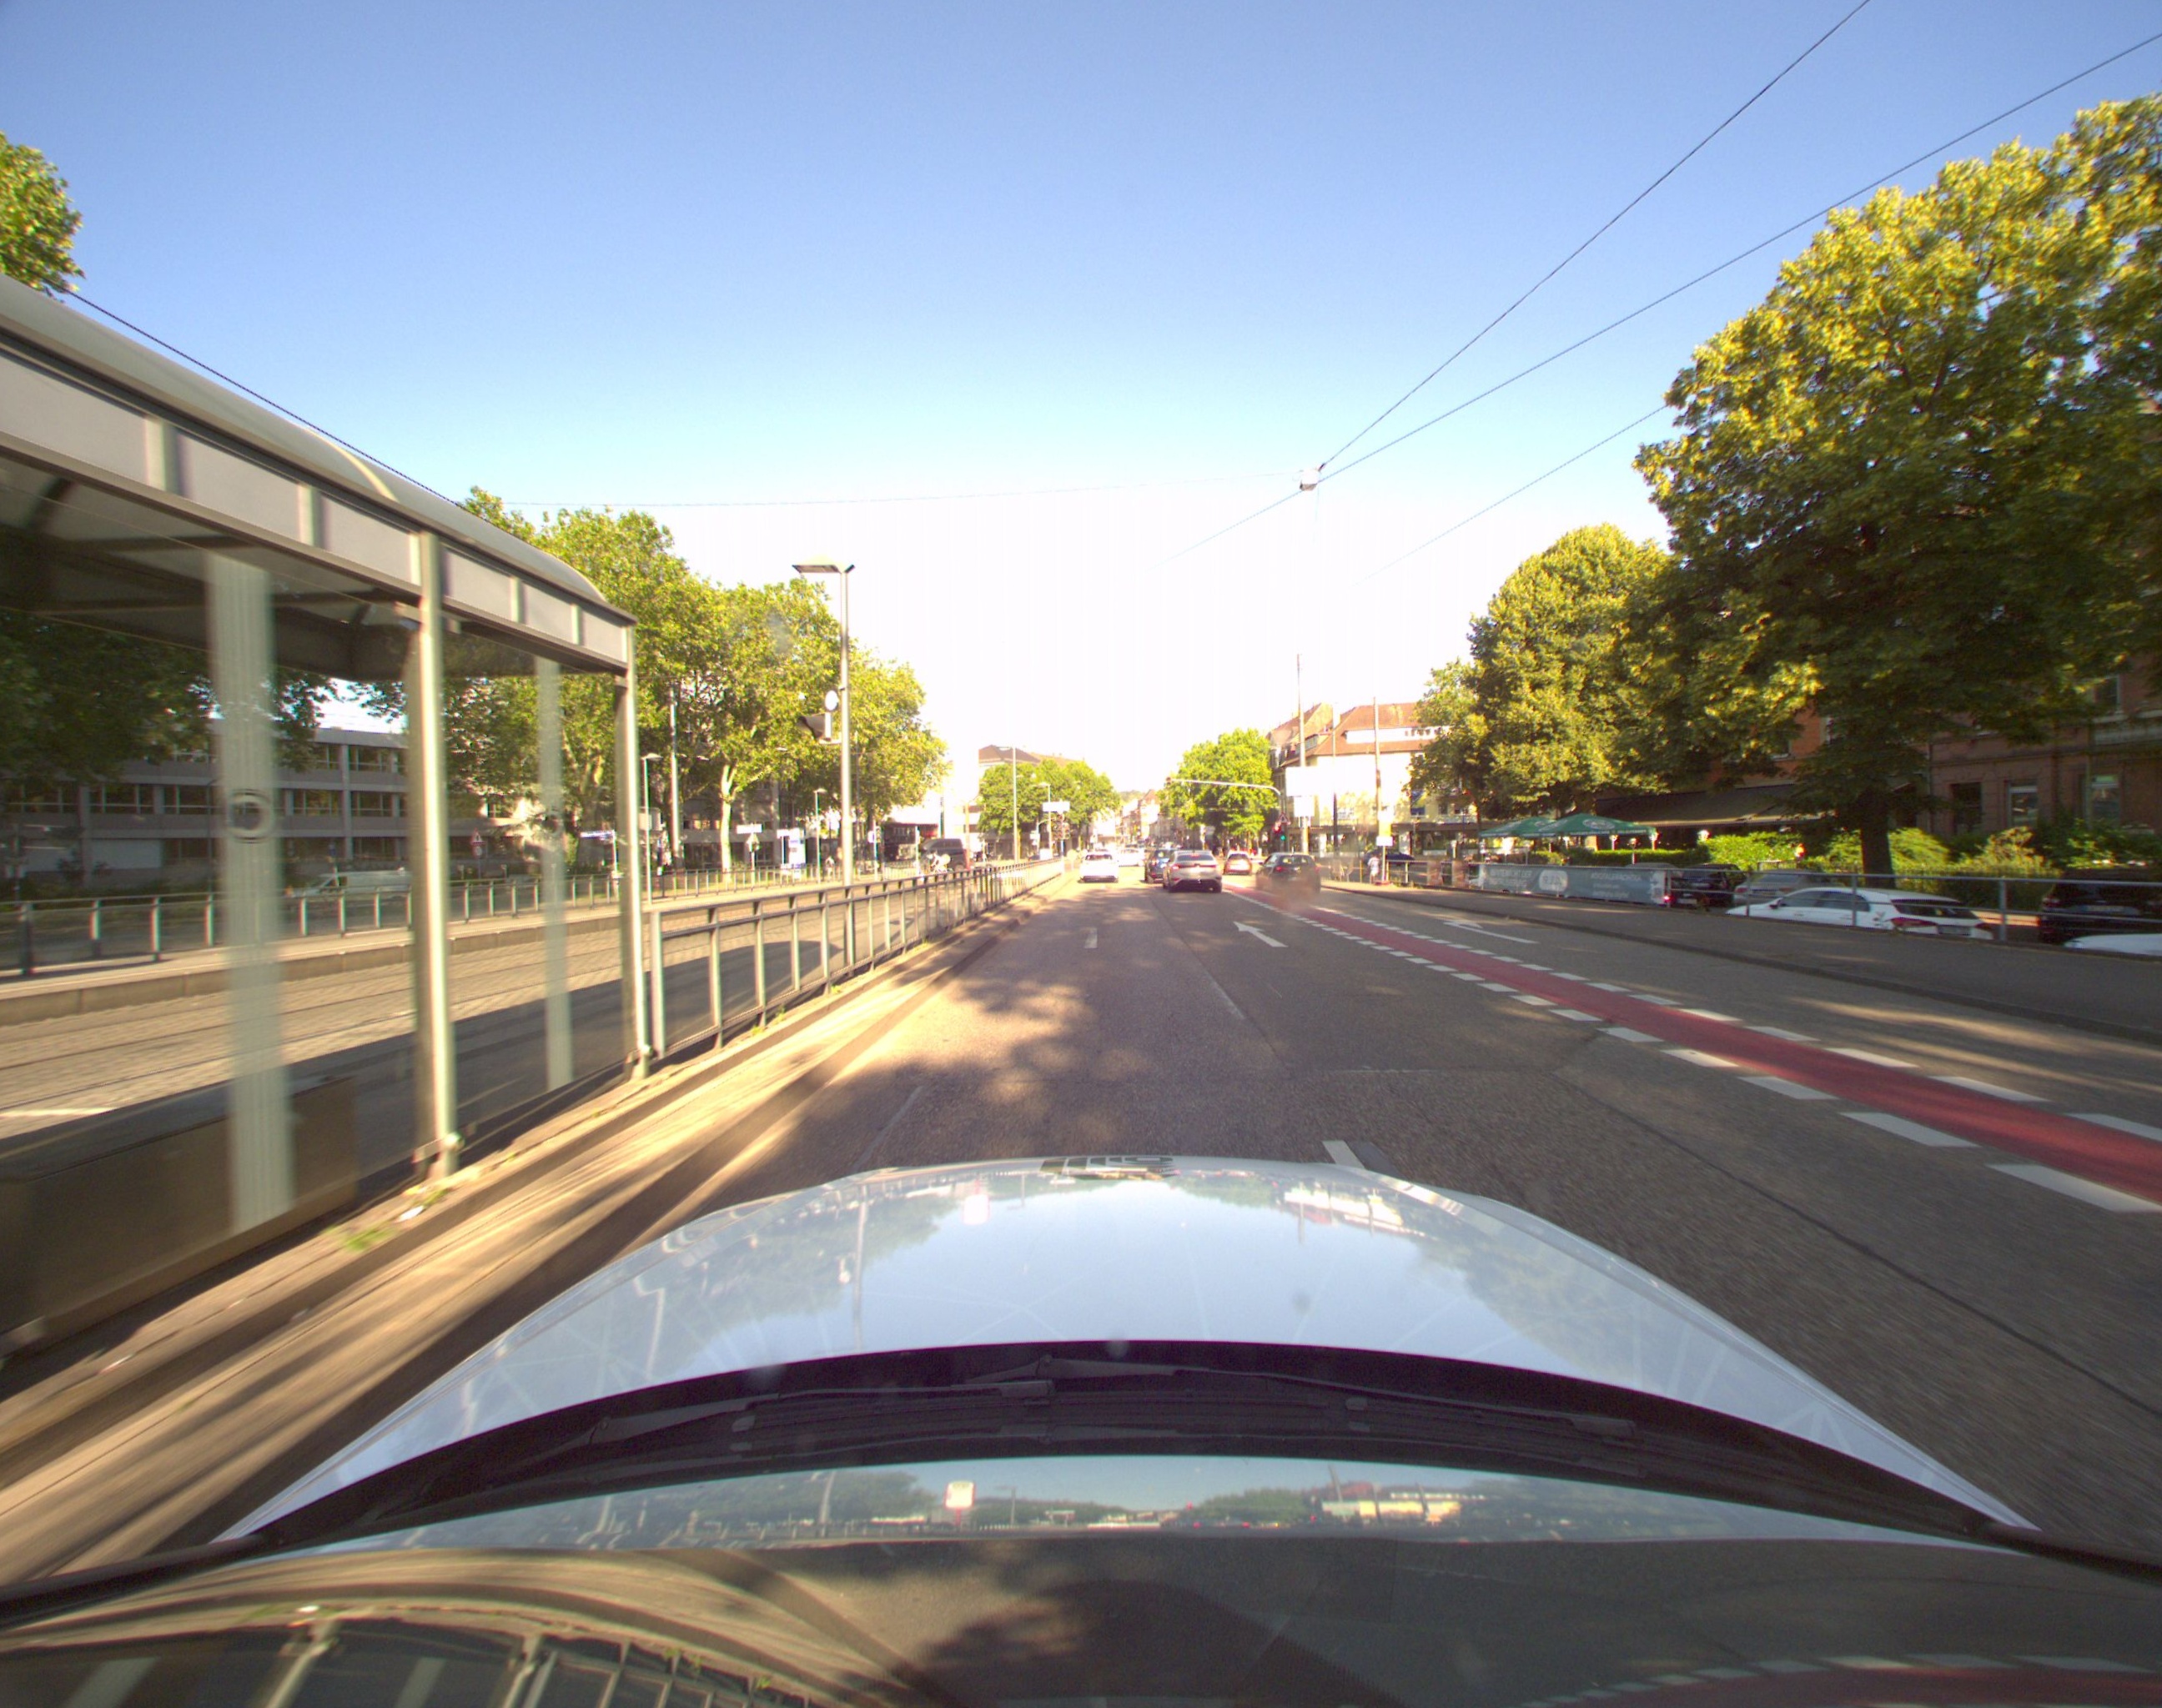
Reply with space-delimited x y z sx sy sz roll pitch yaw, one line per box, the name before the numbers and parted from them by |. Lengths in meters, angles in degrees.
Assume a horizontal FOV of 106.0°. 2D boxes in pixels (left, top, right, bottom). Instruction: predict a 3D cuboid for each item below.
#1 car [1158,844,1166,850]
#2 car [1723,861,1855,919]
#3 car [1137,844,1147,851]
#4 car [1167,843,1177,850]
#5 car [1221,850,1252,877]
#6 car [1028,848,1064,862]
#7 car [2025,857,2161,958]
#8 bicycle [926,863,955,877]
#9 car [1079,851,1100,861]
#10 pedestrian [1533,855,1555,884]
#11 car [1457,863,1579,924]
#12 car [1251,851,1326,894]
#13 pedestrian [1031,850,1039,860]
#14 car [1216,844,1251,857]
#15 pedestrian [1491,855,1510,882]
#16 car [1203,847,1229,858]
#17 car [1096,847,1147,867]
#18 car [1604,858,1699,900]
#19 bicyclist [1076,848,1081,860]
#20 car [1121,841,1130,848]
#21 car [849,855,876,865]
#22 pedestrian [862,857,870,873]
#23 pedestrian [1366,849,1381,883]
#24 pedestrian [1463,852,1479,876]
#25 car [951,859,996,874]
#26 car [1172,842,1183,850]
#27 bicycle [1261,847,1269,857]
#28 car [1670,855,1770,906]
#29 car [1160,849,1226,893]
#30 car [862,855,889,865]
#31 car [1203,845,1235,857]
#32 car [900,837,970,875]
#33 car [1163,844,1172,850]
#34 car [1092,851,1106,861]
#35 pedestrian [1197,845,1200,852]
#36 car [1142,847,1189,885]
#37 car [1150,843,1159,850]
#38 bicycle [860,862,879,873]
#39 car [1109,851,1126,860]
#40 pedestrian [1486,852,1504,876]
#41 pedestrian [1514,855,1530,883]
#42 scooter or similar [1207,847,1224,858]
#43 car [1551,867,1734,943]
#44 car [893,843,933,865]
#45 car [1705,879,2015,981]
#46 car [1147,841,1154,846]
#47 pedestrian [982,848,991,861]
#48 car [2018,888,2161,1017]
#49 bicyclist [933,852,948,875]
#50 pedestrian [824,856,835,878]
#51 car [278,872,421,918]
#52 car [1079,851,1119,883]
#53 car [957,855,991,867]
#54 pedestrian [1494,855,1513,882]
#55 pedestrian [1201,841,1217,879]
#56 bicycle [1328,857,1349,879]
car | 21.290 -1.843 215.378 1.787 1.522 4.001 -1 0 1
car | 21.705 1.024 24.931 4.266 1.406 1.944 -3 1 -33
car | 12.156 -1.290 161.988 1.788 1.510 4.000 -1 0 1
car | 21.239 -1.692 189.964 1.787 1.510 4.001 -1 0 1
car | 9.659 0.541 50.561 1.783 1.510 4.012 -1 1 10
car | -3.977 0.136 92.853 3.949 1.510 1.811 -1 0 42
car | 21.647 1.024 17.266 4.018 1.734 1.780 -3 1 -36
bicycle | -8.622 0.967 50.027 1.604 0.816 0.528 -1 0 4
car | 1.307 0.351 126.108 1.707 1.510 3.899 -2 0 26
pedestrian | 21.376 0.710 37.603 0.645 1.338 0.632 1 0 2
car | 14.757 1.267 27.796 1.789 1.898 4.358 0 -1 0
car | 7.404 0.613 29.418 1.793 1.439 4.047 0 0 2
pedestrian | -6.678 0.128 119.258 0.795 1.484 0.867 -1 0 27
car | 18.921 -0.408 101.032 3.983 1.510 1.796 -2 0 -7
pedestrian | 21.478 0.747 41.698 0.645 1.338 0.632 1 0 2
car | 20.810 -0.235 125.598 4.021 1.510 1.779 -2 0 -40
car | 3.528 0.262 70.955 4.146 1.692 1.815 -1 0 -10
car | 22.124 0.918 31.545 4.018 1.348 1.760 -3 1 -36
bicyclist | -0.380 -0.005 121.773 0.463 1.745 0.721 -1 0 25
car | 10.137 -2.203 184.963 1.788 1.510 4.000 -1 0 1
car | -34.173 0.943 127.505 1.778 1.510 4.023 -1 0 25
pedestrian | -22.807 1.130 86.489 0.645 1.661 0.651 -1 0 4
pedestrian | 13.444 0.539 37.421 0.642 1.563 0.635 1 0 20
pedestrian | 22.733 0.579 47.458 0.645 1.338 0.632 1 0 2
car | -8.522 0.970 64.642 2.047 1.162 2.930 -1 -1 40
car | 21.727 -1.808 183.420 2.097 1.776 4.343 -1 0 1
bicycle | 21.452 -0.229 94.911 0.606 1.107 1.803 -1 0 6
car | 22.410 0.892 28.519 4.019 1.480 1.780 -3 1 -38
car | 4.049 0.581 30.234 1.922 1.472 4.857 -1 0 2
car | -31.819 0.908 126.084 1.778 1.510 4.023 -1 0 25
car | 18.907 -0.457 111.421 3.979 1.510 1.797 -1 0 -5
car | -10.978 0.181 61.501 2.047 2.743 5.062 -1 -1 40
car | 20.757 -1.727 196.139 1.787 1.510 4.001 -1 0 1
car | 2.898 0.310 132.067 1.784 1.510 4.010 -2 0 9
pedestrian | 25.138 -1.201 174.556 0.644 1.651 0.652 -1 -1 12
car | 3.837 0.507 37.381 1.794 1.638 4.046 -1 0 1
car | 21.777 -2.221 240.405 2.318 2.013 4.978 -1 0 1
bicycle | -22.556 1.398 86.881 1.786 1.107 0.501 -1 0 4
car | 6.330 0.300 140.053 1.779 1.510 4.020 -2 0 21
pedestrian | 23.622 0.564 46.471 0.645 1.338 0.632 1 0 2
pedestrian | 21.293 0.728 39.303 0.642 1.338 0.636 1 0 32
scooter or similar | 15.718 -0.184 95.241 1.926 1.280 0.557 -1 0 43
car | 14.890 1.264 21.935 1.791 1.803 4.203 0 -1 -5
car | -25.186 -0.034 122.469 2.473 3.165 6.573 -1 0 25
car | 14.581 1.325 15.689 1.787 1.579 4.444 0 -1 1
car | 20.984 -3.062 245.895 1.787 1.510 4.001 -1 0 1
pedestrian | -13.170 0.110 113.542 0.828 1.771 0.787 -1 0 27
car | 14.615 1.269 9.676 1.787 1.579 4.554 0 -1 1
bicyclist | -8.629 0.571 50.026 0.796 1.414 0.528 -1 0 4
pedestrian | -18.581 0.947 60.149 0.533 1.552 0.677 -1 0 1
car | -42.321 2.305 47.296 2.131 2.335 5.757 -1 0 25
car | 0.857 0.584 39.336 1.802 1.452 4.001 -1 0 1
car | -13.771 0.923 104.663 3.949 1.510 1.811 -1 0 28
pedestrian | 22.089 0.751 42.611 0.645 1.338 0.632 1 0 2
pedestrian | 6.333 0.293 40.364 0.654 1.871 0.678 -1 0 1
bicycle | 12.714 0.677 40.243 0.496 1.075 1.801 0 -1 2
